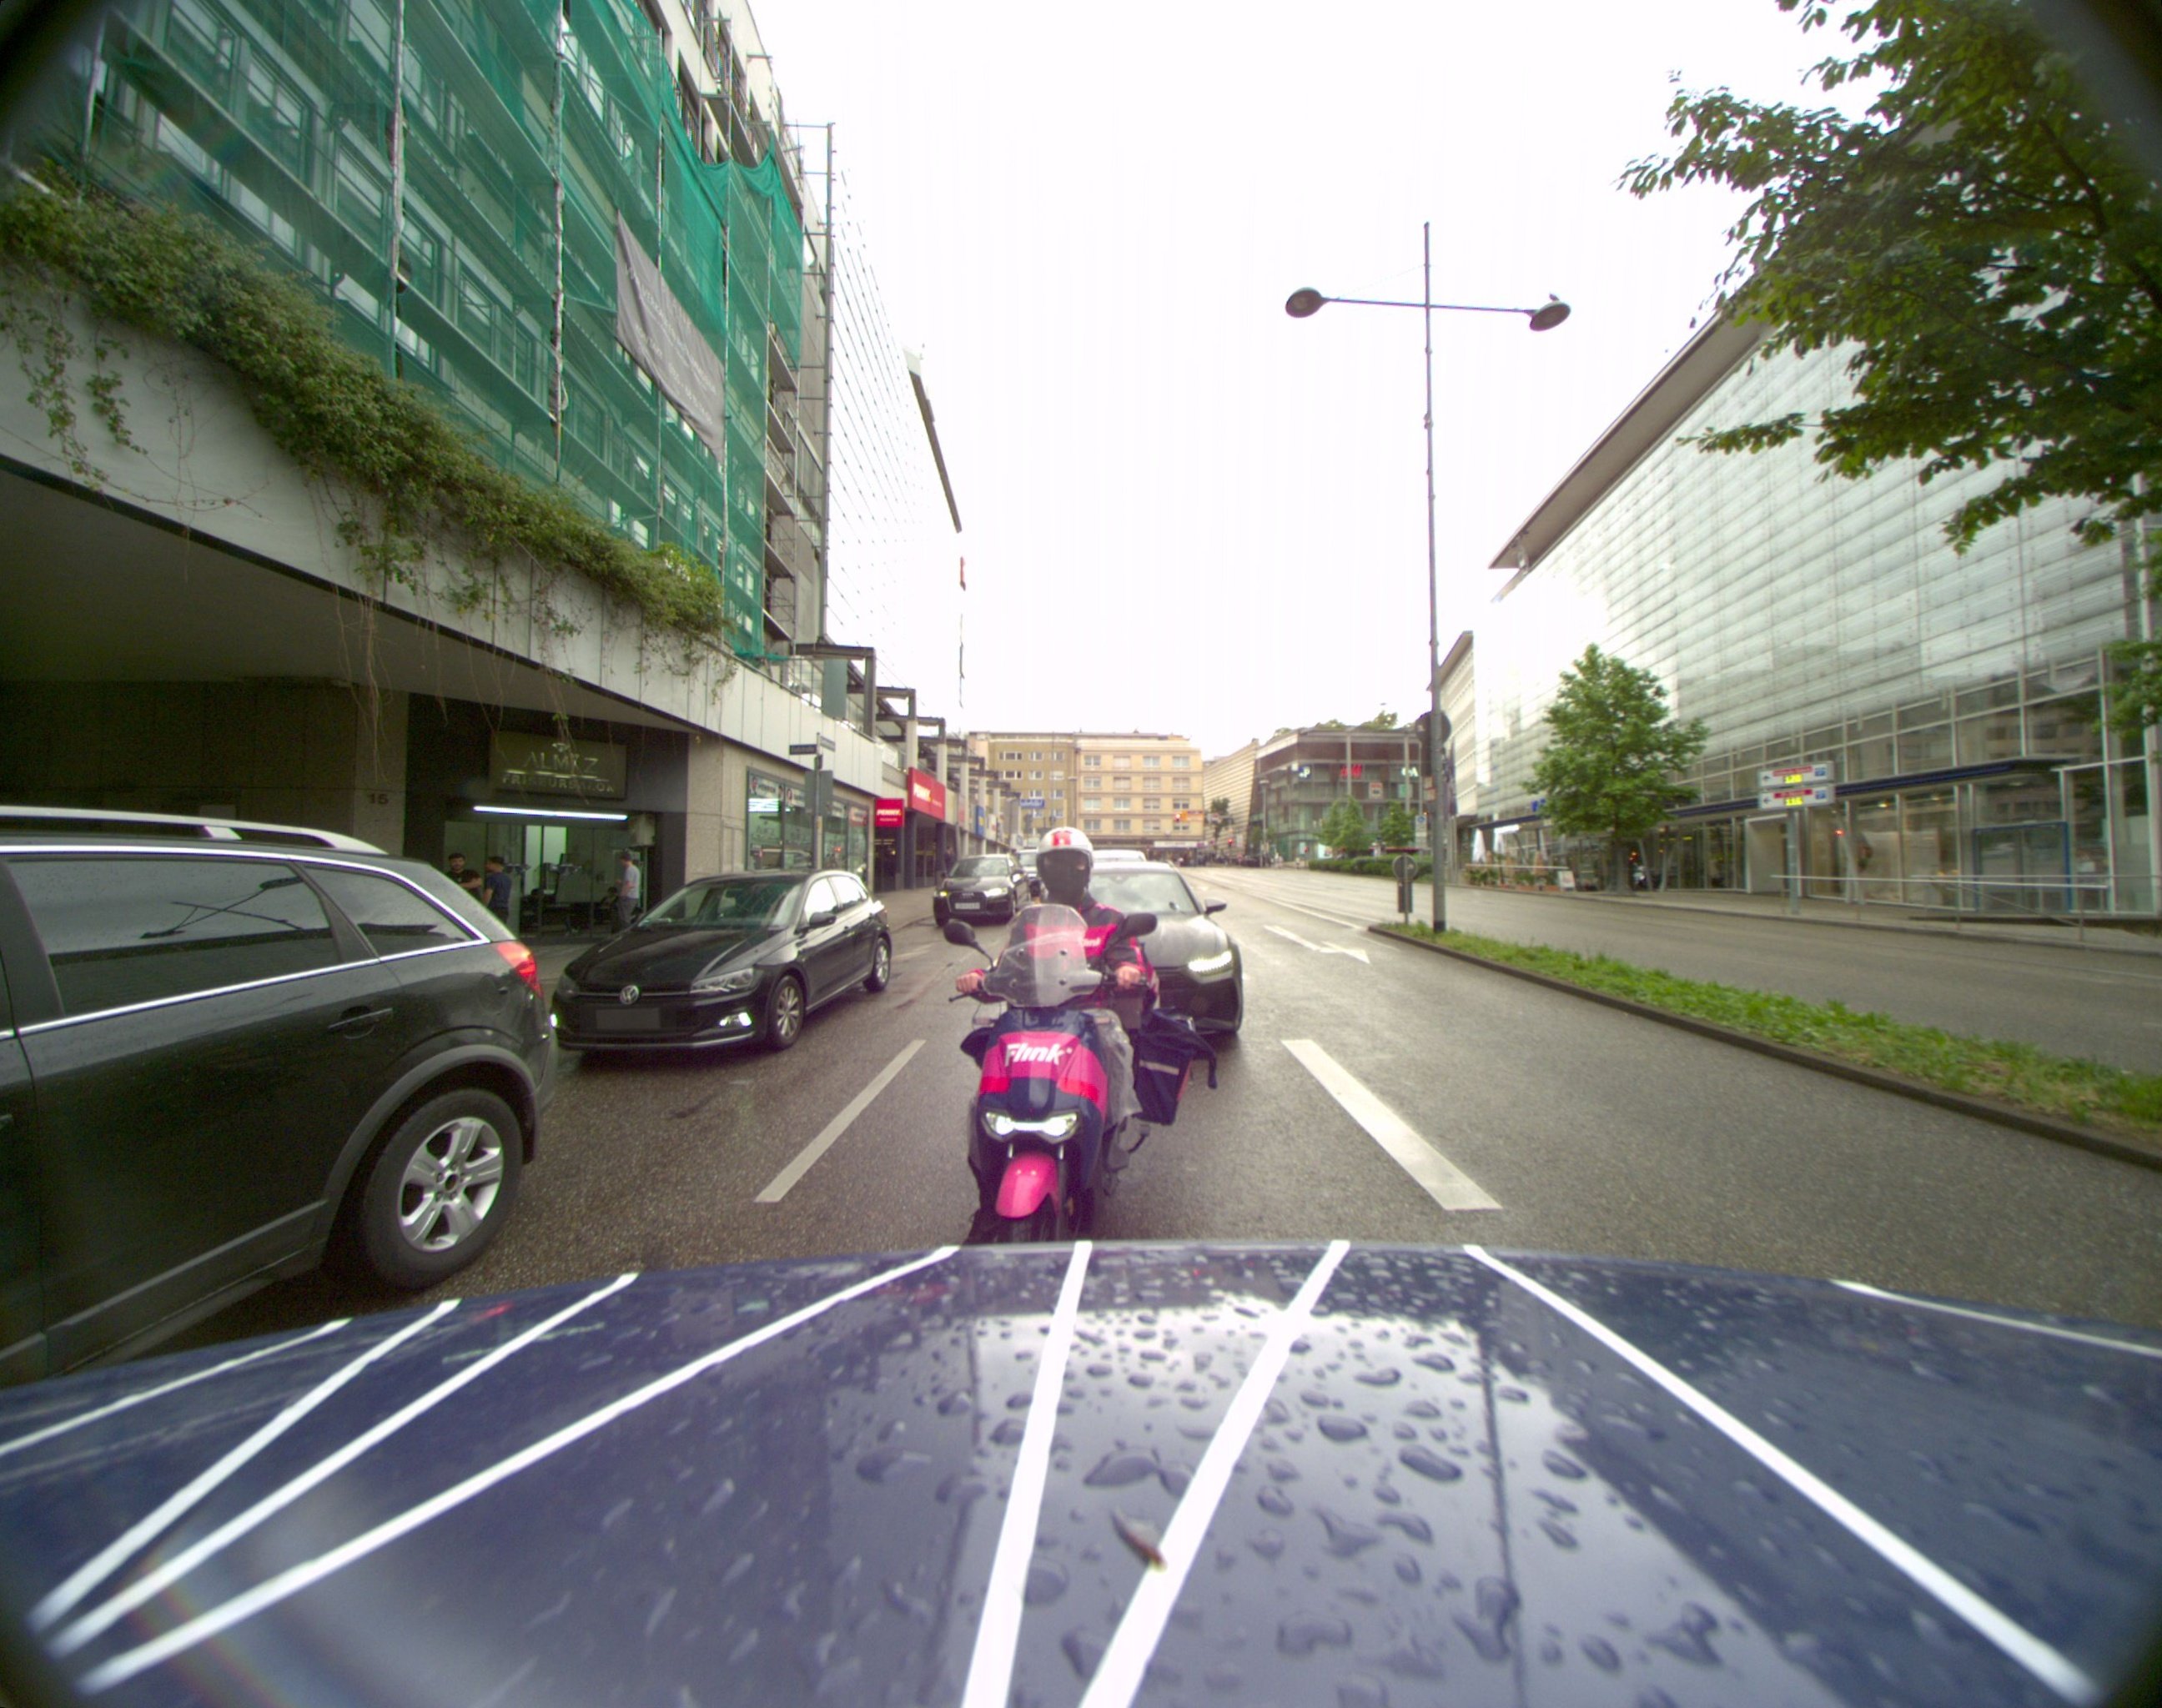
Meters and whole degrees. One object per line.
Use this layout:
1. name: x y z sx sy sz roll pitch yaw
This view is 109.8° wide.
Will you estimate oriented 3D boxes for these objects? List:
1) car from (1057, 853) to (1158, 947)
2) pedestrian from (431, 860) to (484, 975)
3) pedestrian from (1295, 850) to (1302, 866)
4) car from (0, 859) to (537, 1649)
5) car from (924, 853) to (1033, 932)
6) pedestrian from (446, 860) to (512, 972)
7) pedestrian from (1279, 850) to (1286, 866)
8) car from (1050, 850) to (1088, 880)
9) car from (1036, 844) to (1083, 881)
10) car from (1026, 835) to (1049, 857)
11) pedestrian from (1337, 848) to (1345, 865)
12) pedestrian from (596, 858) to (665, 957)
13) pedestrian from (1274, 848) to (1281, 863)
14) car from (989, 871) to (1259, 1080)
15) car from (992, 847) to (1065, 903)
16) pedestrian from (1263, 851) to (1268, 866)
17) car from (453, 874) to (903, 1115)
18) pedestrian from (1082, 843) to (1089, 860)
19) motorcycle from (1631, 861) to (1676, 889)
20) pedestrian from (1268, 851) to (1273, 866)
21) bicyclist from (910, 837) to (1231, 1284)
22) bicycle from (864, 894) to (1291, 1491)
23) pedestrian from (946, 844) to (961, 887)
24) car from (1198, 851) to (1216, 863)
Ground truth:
1. car: 0.545 0.786 15.073 1.675 1.520 4.164 -2 1 2
2. pedestrian: -9.598 0.953 11.702 0.466 1.698 0.484 0 2 42
3. pedestrian: 24.408 0.404 85.132 0.626 1.764 0.689 -2 2 7
4. car: -3.317 0.912 1.237 1.764 1.755 4.164 -2 0 1
5. car: -2.310 0.816 18.251 1.841 1.598 4.164 -2 1 2
6. pedestrian: -8.950 0.897 11.316 0.640 1.586 0.576 -3 2 -32
7. pedestrian: 21.533 0.409 81.156 0.633 1.620 0.602 1 1 4
8. car: -0.685 0.639 46.490 1.988 1.696 4.165 -2 -1 2
9. car: -1.026 0.438 38.360 1.988 1.696 4.165 -2 -1 2
10. car: -4.196 -0.796 73.338 1.605 2.002 3.400 -2 1 7
11. pedestrian: 28.545 0.265 83.401 0.626 1.764 0.689 -2 2 5
12. pedestrian: -7.776 0.911 13.126 0.732 1.633 0.640 -1 2 25
13. pedestrian: 21.427 0.198 82.802 0.633 1.620 0.602 0 1 2
14. car: 0.390 0.927 7.529 1.890 1.391 4.165 -2 -1 2
15. car: -1.708 0.679 26.125 1.988 1.696 4.165 -2 -1 2
16. pedestrian: 21.040 0.528 86.640 0.428 1.620 0.602 1 1 3
17. car: -3.192 1.005 7.149 1.758 1.495 4.165 -2 -1 4
18. pedestrian: 0.429 -0.260 74.186 0.634 1.620 0.602 0 1 -1
19. motorcycle: 28.008 1.033 37.174 1.707 1.319 0.620 0 1 1
20. pedestrian: 21.076 0.523 84.387 0.428 1.620 0.602 1 1 5
21. bicyclist: -0.027 0.717 3.052 1.063 1.534 0.825 -2 2 0
22. bicycle: 0.011 0.939 3.390 1.034 1.279 2.948 -2 1 1
23. pedestrian: -5.089 0.449 30.256 0.510 1.669 0.579 0 2 0
24. car: 22.430 0.534 135.587 2.000 2.002 4.584 0 1 -7
